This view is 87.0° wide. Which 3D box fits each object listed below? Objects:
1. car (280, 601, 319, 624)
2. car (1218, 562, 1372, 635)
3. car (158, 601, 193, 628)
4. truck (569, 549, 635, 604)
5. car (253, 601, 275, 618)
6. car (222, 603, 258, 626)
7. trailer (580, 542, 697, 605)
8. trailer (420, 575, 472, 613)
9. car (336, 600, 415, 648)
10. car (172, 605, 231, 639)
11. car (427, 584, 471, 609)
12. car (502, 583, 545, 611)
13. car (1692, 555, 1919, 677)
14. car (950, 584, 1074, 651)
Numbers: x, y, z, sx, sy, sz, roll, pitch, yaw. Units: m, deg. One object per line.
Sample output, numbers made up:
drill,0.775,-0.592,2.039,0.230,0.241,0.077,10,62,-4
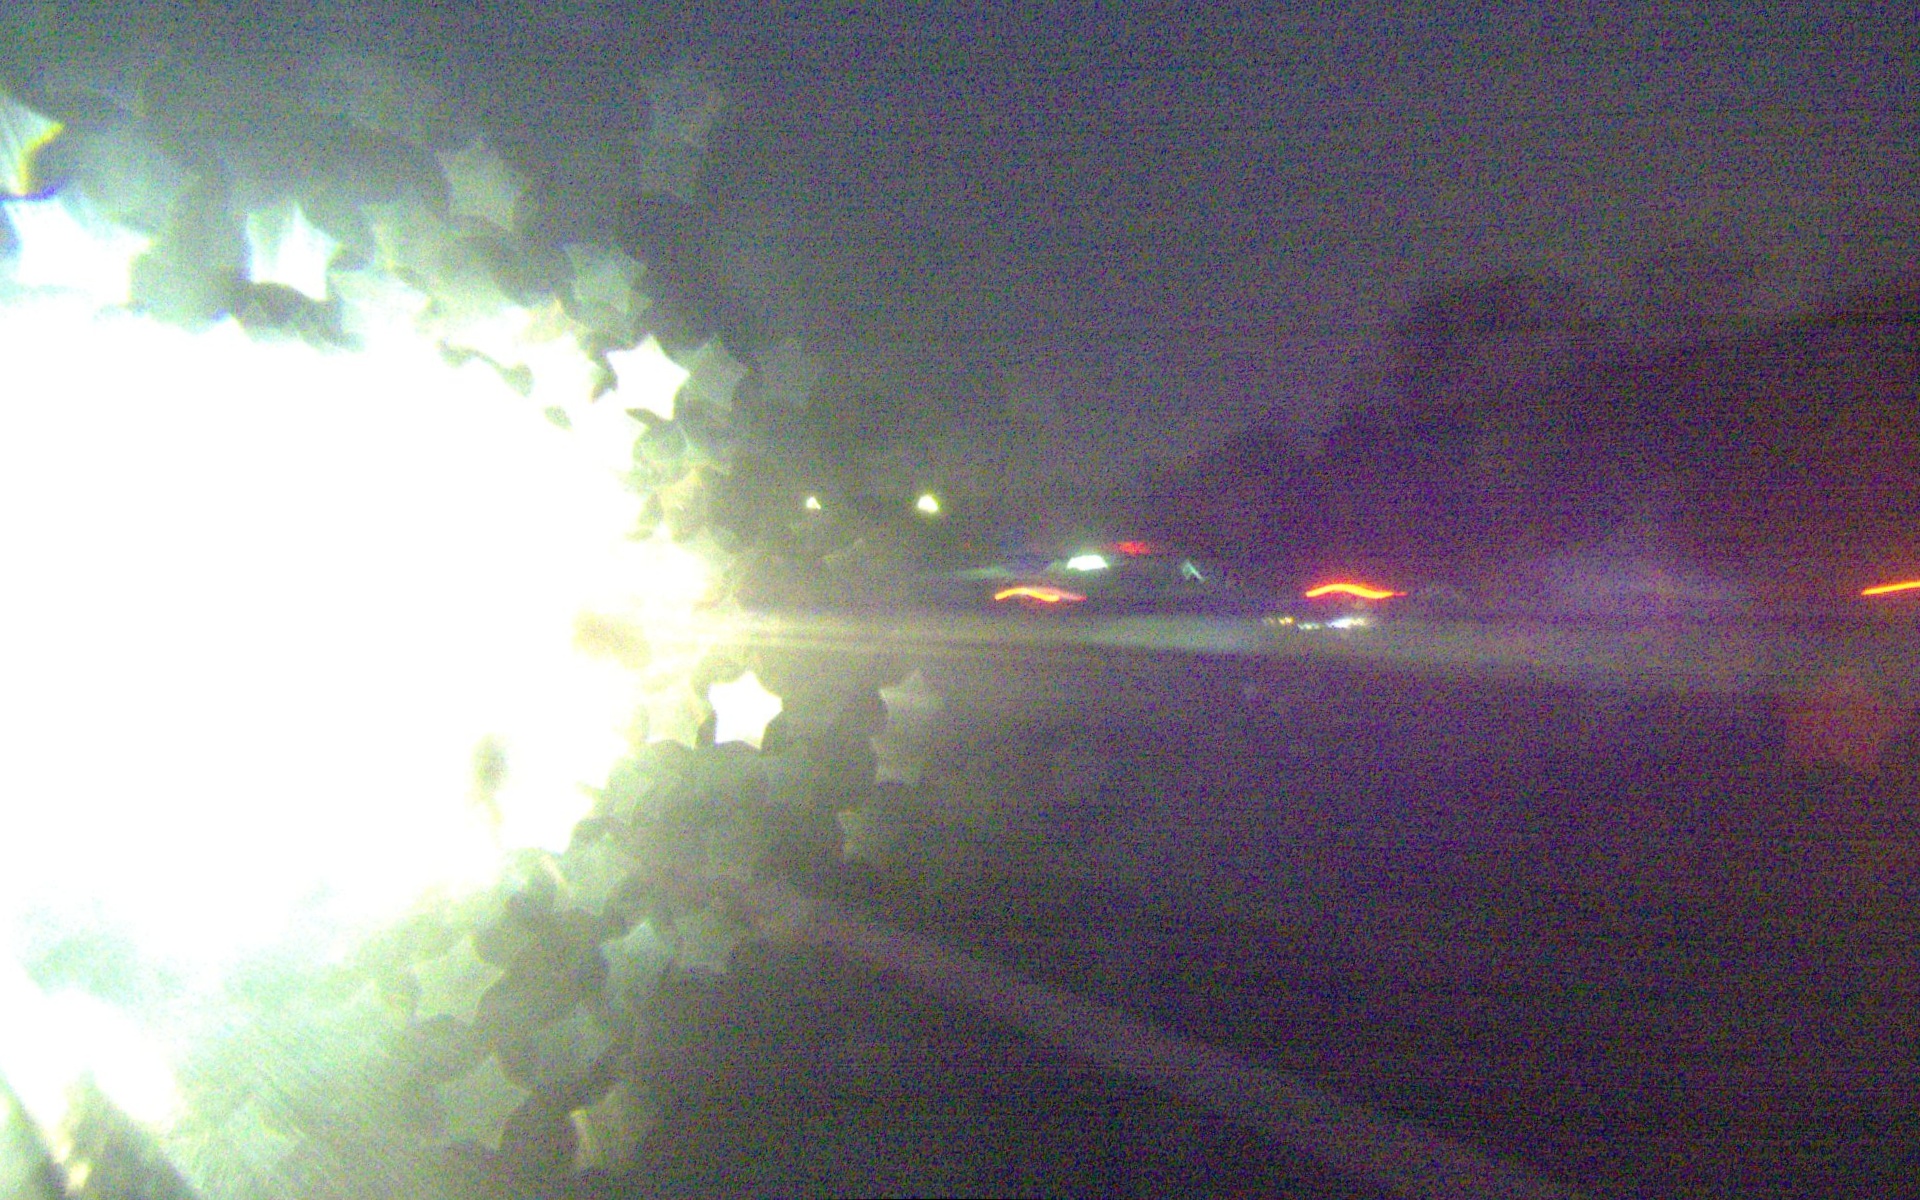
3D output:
car,-51.207,0.945,78.445,1.893,1.608,4.005,-3,1,-42
car,10.239,-0.049,31.156,1.970,1.996,4.005,-5,3,-42
car,-66.176,1.210,85.360,1.970,2.028,4.005,-5,3,-42
truck,-26.193,-1.670,73.878,2.619,3.758,5.715,-5,3,-38
car,-82.492,1.091,119.911,1.900,1.807,4.008,-4,3,-38
car,-55.501,1.089,77.976,1.893,1.608,4.006,-2,1,-41
trailer,-22.070,-1.684,68.550,2.619,3.758,13.971,-5,3,-38
trailer,-60.187,-0.737,118.175,2.735,4.058,14.045,-5,3,-37
car,-21.586,0.837,37.284,1.701,1.608,4.005,-2,1,-42
car,-39.647,1.107,52.865,4.002,1.608,1.895,0,2,45
car,-39.187,-0.283,77.526,1.970,1.784,4.005,-5,3,-41
car,-33.903,-0.242,78.535,1.969,2.028,4.008,-5,3,-39
car,16.429,0.248,19.052,1.971,2.028,4.003,-5,4,-44
car,1.731,0.544,34.662,1.969,2.028,4.007,-5,3,-39
